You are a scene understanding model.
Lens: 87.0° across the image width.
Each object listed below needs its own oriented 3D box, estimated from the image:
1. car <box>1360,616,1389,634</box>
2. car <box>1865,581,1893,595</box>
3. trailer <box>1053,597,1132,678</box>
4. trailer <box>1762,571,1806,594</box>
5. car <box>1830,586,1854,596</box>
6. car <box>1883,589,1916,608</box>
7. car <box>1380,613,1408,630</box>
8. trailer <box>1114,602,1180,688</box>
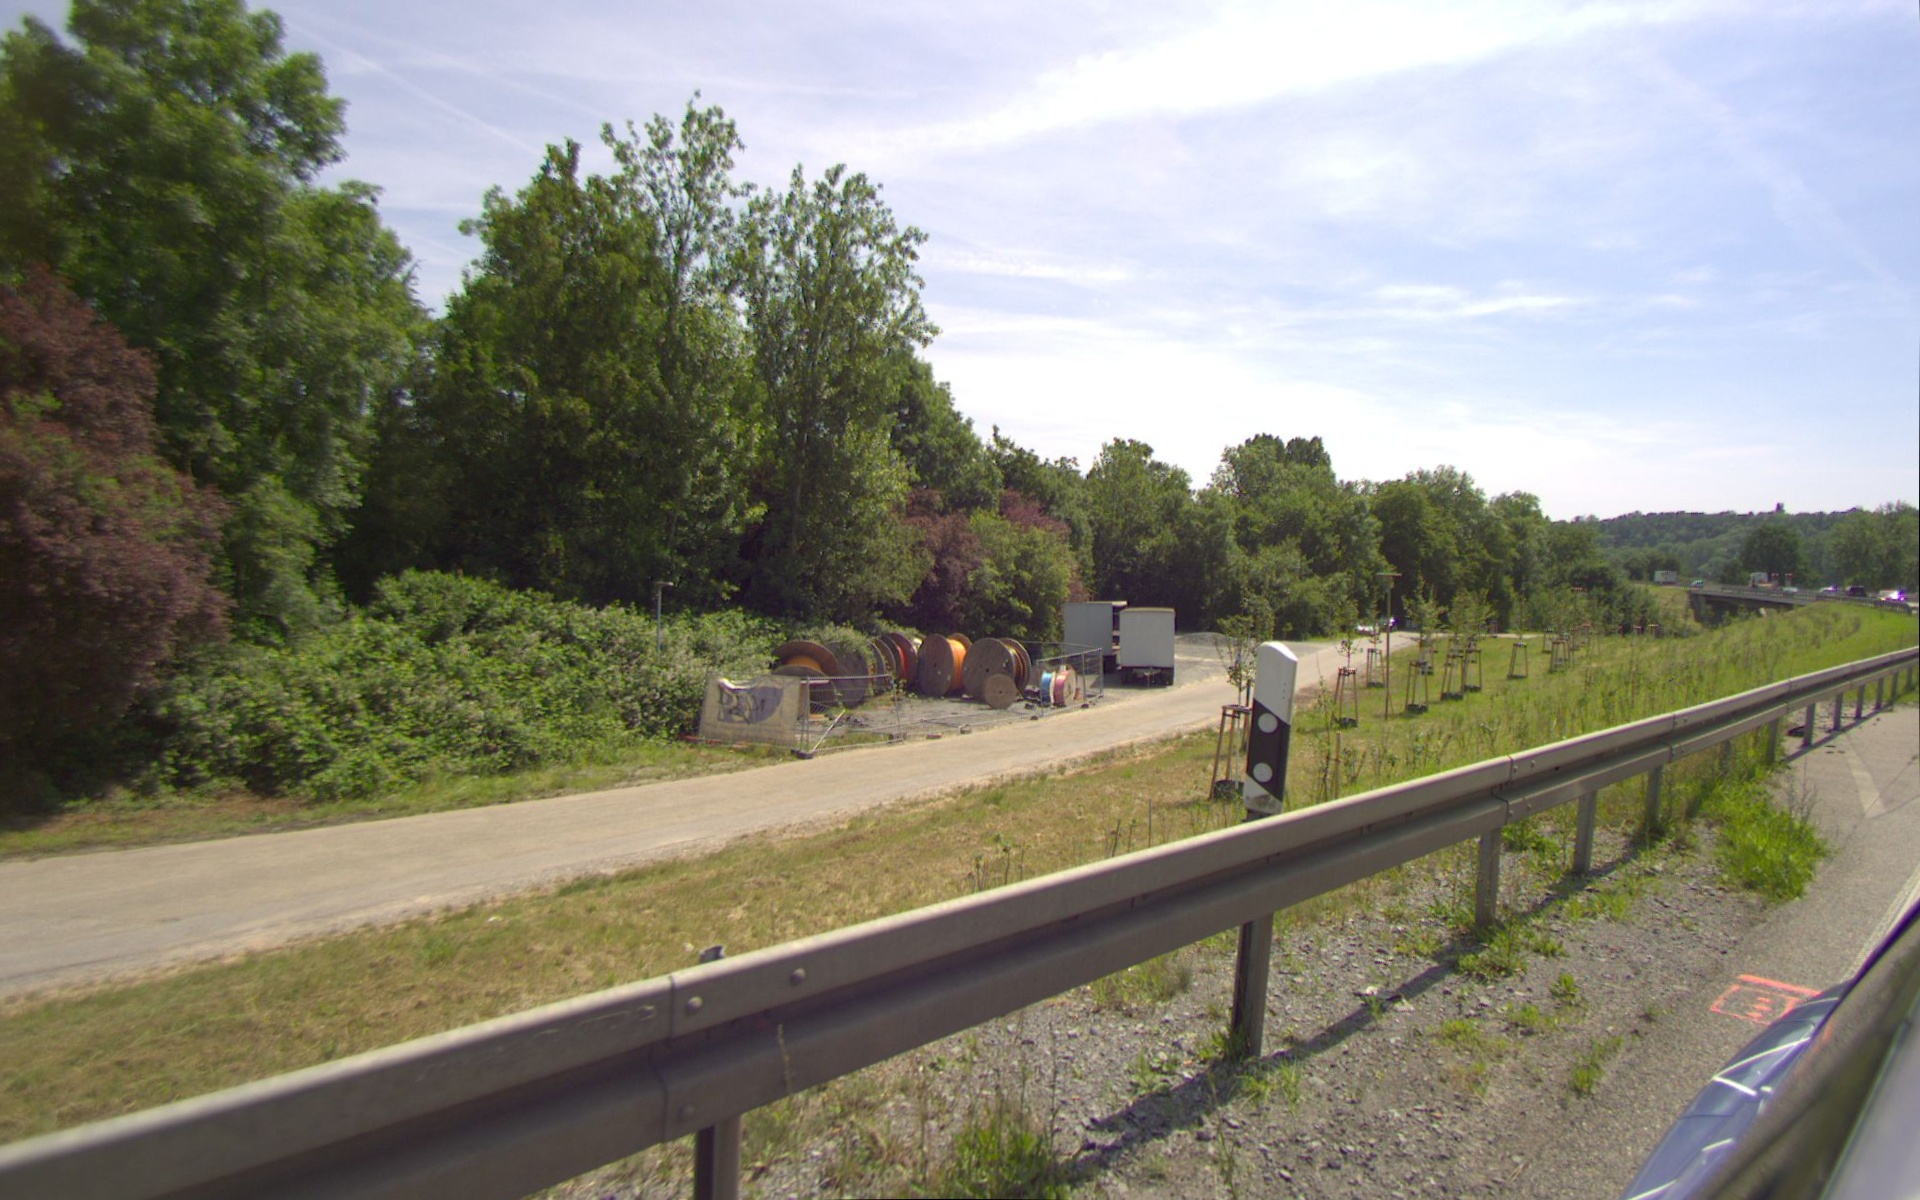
[{"bbox_3d":[41.273,2.483,100.744,1.850,1.500,4.555,6,3,32],"label":"car"},{"bbox_3d":[124.977,-1.654,137.643,1.913,1.883,5.117,1,1,32],"label":"car"},{"bbox_3d":[7.187,1.748,53.354,2.688,3.652,11.841,0,1,15],"label":"trailer"},{"bbox_3d":[148.812,-3.267,182.938,3.100,4.029,15.207,1,2,28],"label":"trailer"},{"bbox_3d":[133.422,-1.402,153.100,1.757,1.512,4.132,1,2,27],"label":"car"},{"bbox_3d":[96.210,-0.211,103.693,1.969,1.753,3.950,1,3,36],"label":"car"},{"bbox_3d":[47.254,2.310,110.171,1.852,1.702,4.147,6,3,34],"label":"car"},{"bbox_3d":[9.234,1.921,49.007,2.686,3.369,11.850,1,1,13],"label":"trailer"}]
